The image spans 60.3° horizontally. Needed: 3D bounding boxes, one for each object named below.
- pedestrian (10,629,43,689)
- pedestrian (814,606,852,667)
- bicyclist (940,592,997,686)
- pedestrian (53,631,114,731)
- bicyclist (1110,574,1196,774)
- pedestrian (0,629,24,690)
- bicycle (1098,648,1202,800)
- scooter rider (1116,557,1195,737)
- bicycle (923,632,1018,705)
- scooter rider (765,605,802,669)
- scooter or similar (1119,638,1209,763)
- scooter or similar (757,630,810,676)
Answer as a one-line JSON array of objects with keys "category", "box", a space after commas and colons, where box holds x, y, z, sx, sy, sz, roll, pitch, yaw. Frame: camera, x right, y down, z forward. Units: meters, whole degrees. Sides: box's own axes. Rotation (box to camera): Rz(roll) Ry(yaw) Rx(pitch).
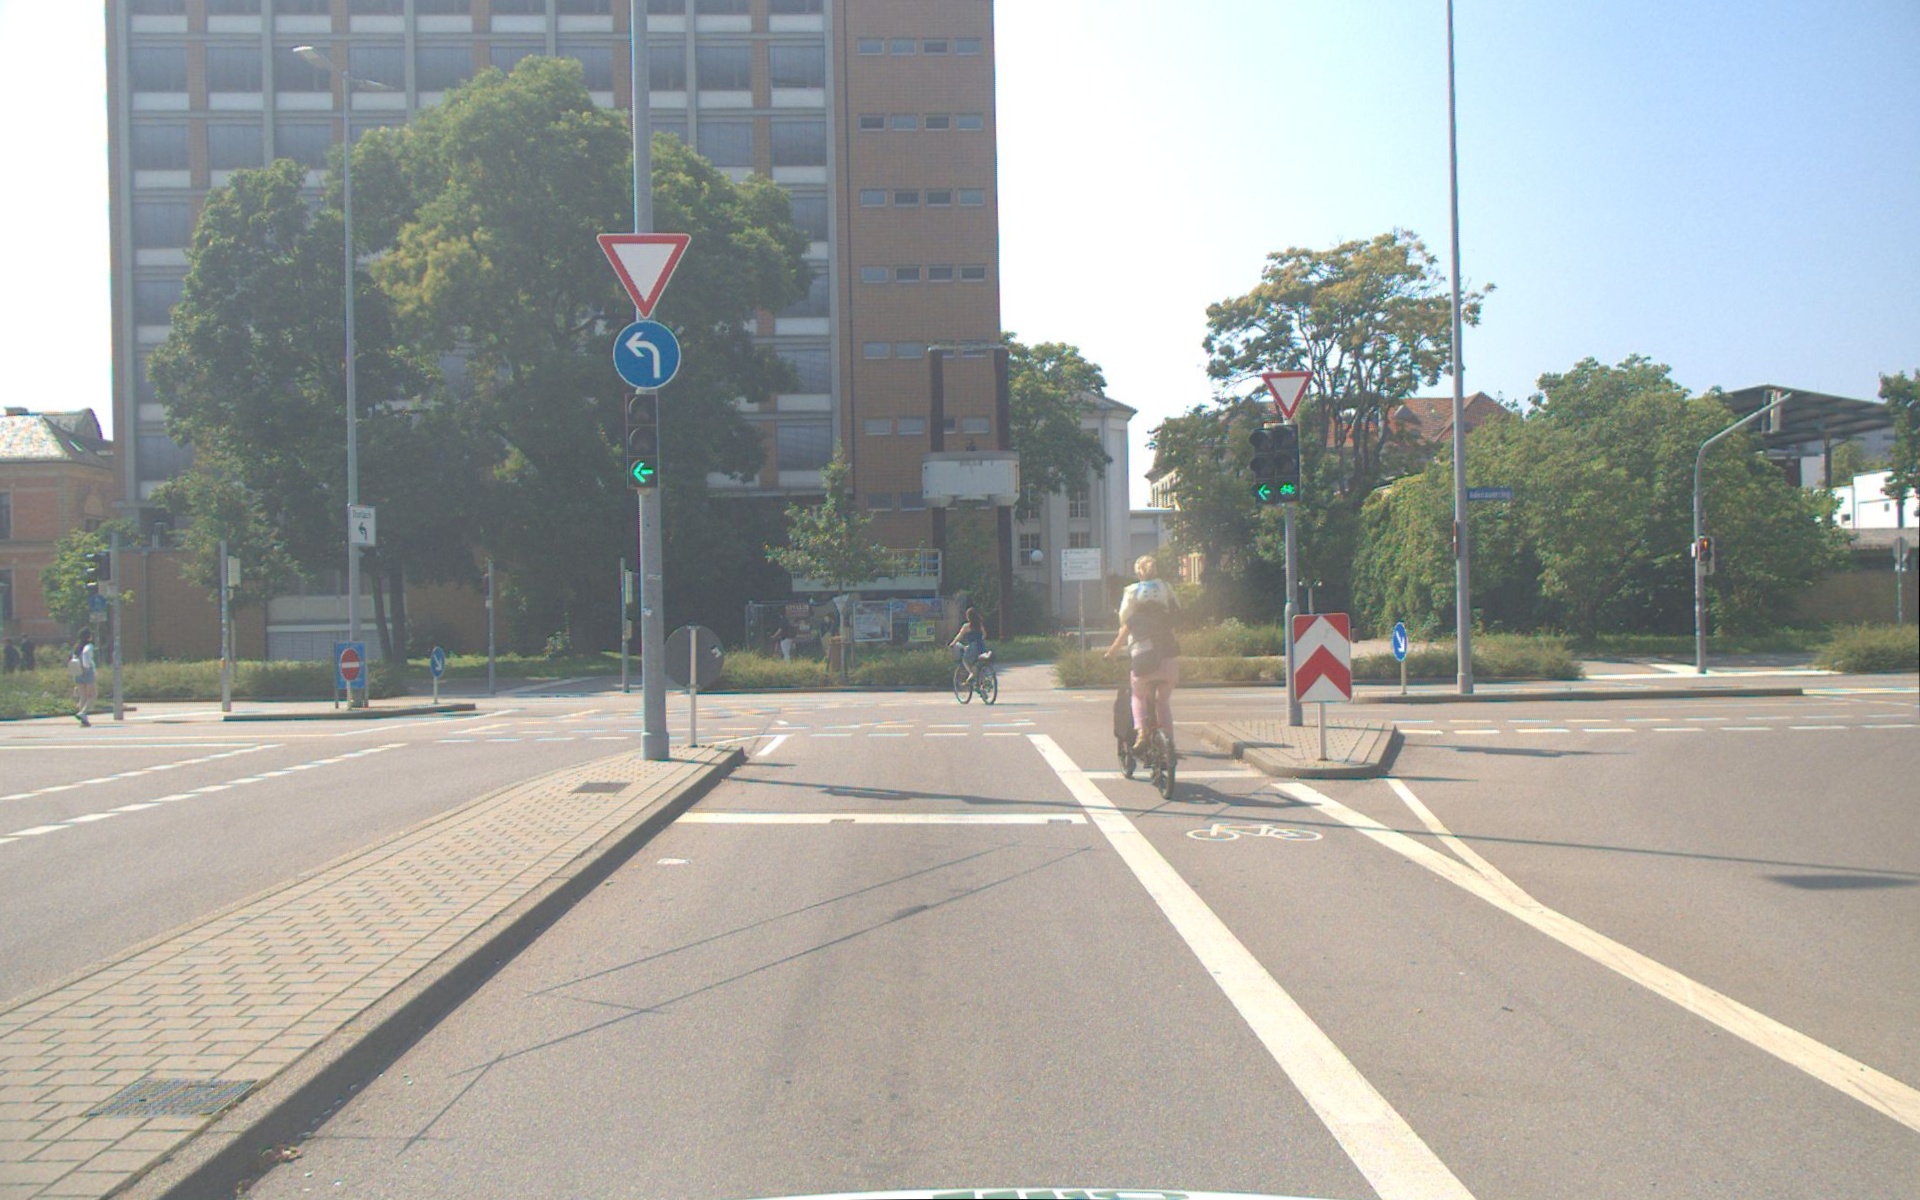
[{"category": "pedestrian", "box": [-31.972, 2.013, 56.664, 0.740, 2.007, 0.776, -2, -1, 41]}, {"category": "pedestrian", "box": [-3.722, 1.052, 48.361, 0.857, 1.734, 0.708, -2, 1, 15]}, {"category": "bicyclist", "box": [0.148, 0.693, 29.852, 0.682, 1.626, 0.836, -3, 1, -27]}, {"category": "pedestrian", "box": [-15.459, 1.420, 29.177, 0.593, 1.724, 0.701, -2, 0, 16]}, {"category": "bicyclist", "box": [1.514, 0.568, 13.061, 0.537, 1.522, 0.803, -1, 0, -2]}, {"category": "pedestrian", "box": [-32.001, 2.003, 55.567, 0.740, 2.007, 0.776, -2, -1, 41]}, {"category": "bicycle", "box": [1.510, 0.958, 13.429, 0.545, 1.078, 2.003, 0, 0, -2]}, {"category": "scooter rider", "box": [1.934, 0.456, 16.397, 0.657, 1.729, 0.539, -2, 0, -2]}, {"category": "bicycle", "box": [0.160, 1.209, 29.886, 0.685, 1.175, 2.350, -2, 1, -27]}, {"category": "scooter rider", "box": [-4.987, 1.045, 46.686, 0.785, 1.770, 0.689, -2, -1, 14]}, {"category": "scooter or similar", "box": [1.970, 0.949, 16.191, 0.545, 1.078, 2.003, -2, 0, -2]}, {"category": "scooter or similar", "box": [-4.991, 1.504, 46.753, 1.334, 1.256, 0.586, -2, 0, 14]}]
